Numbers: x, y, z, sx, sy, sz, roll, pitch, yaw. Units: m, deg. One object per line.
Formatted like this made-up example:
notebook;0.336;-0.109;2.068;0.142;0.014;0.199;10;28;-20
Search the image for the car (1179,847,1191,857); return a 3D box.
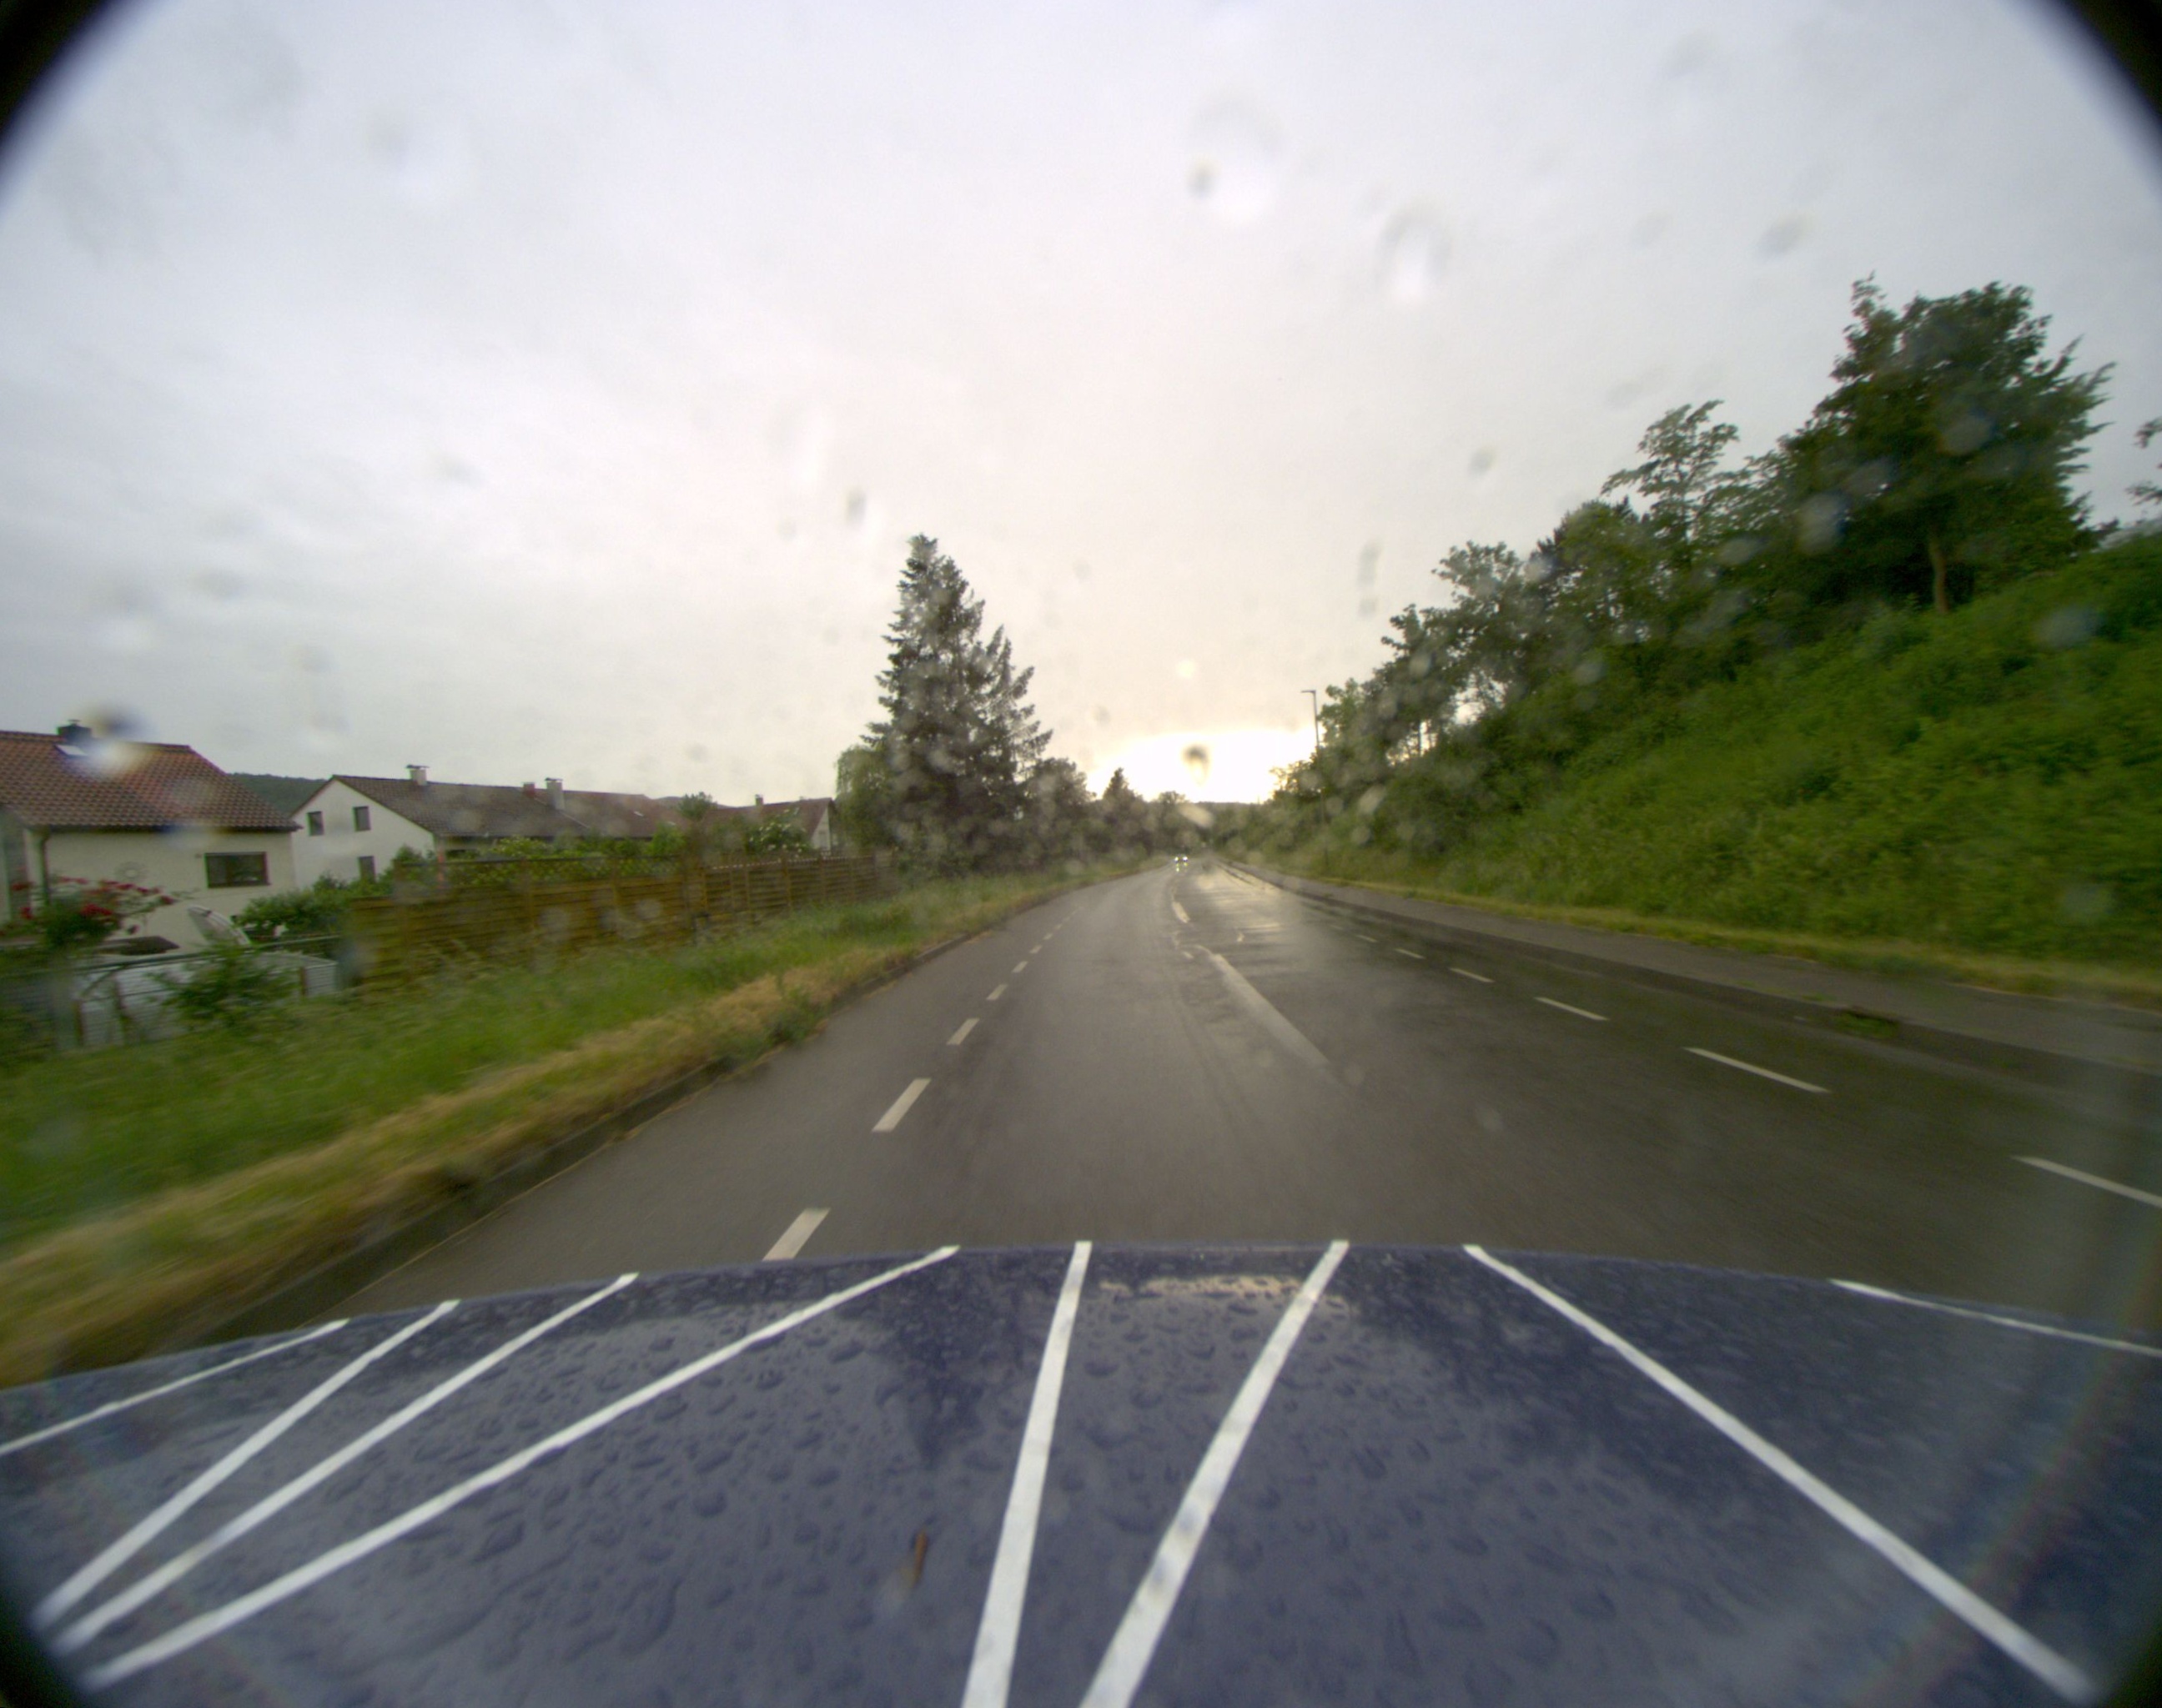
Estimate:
car;17.326;-0.362;126.827;1.879;1.596;4.001;-1;0;6
